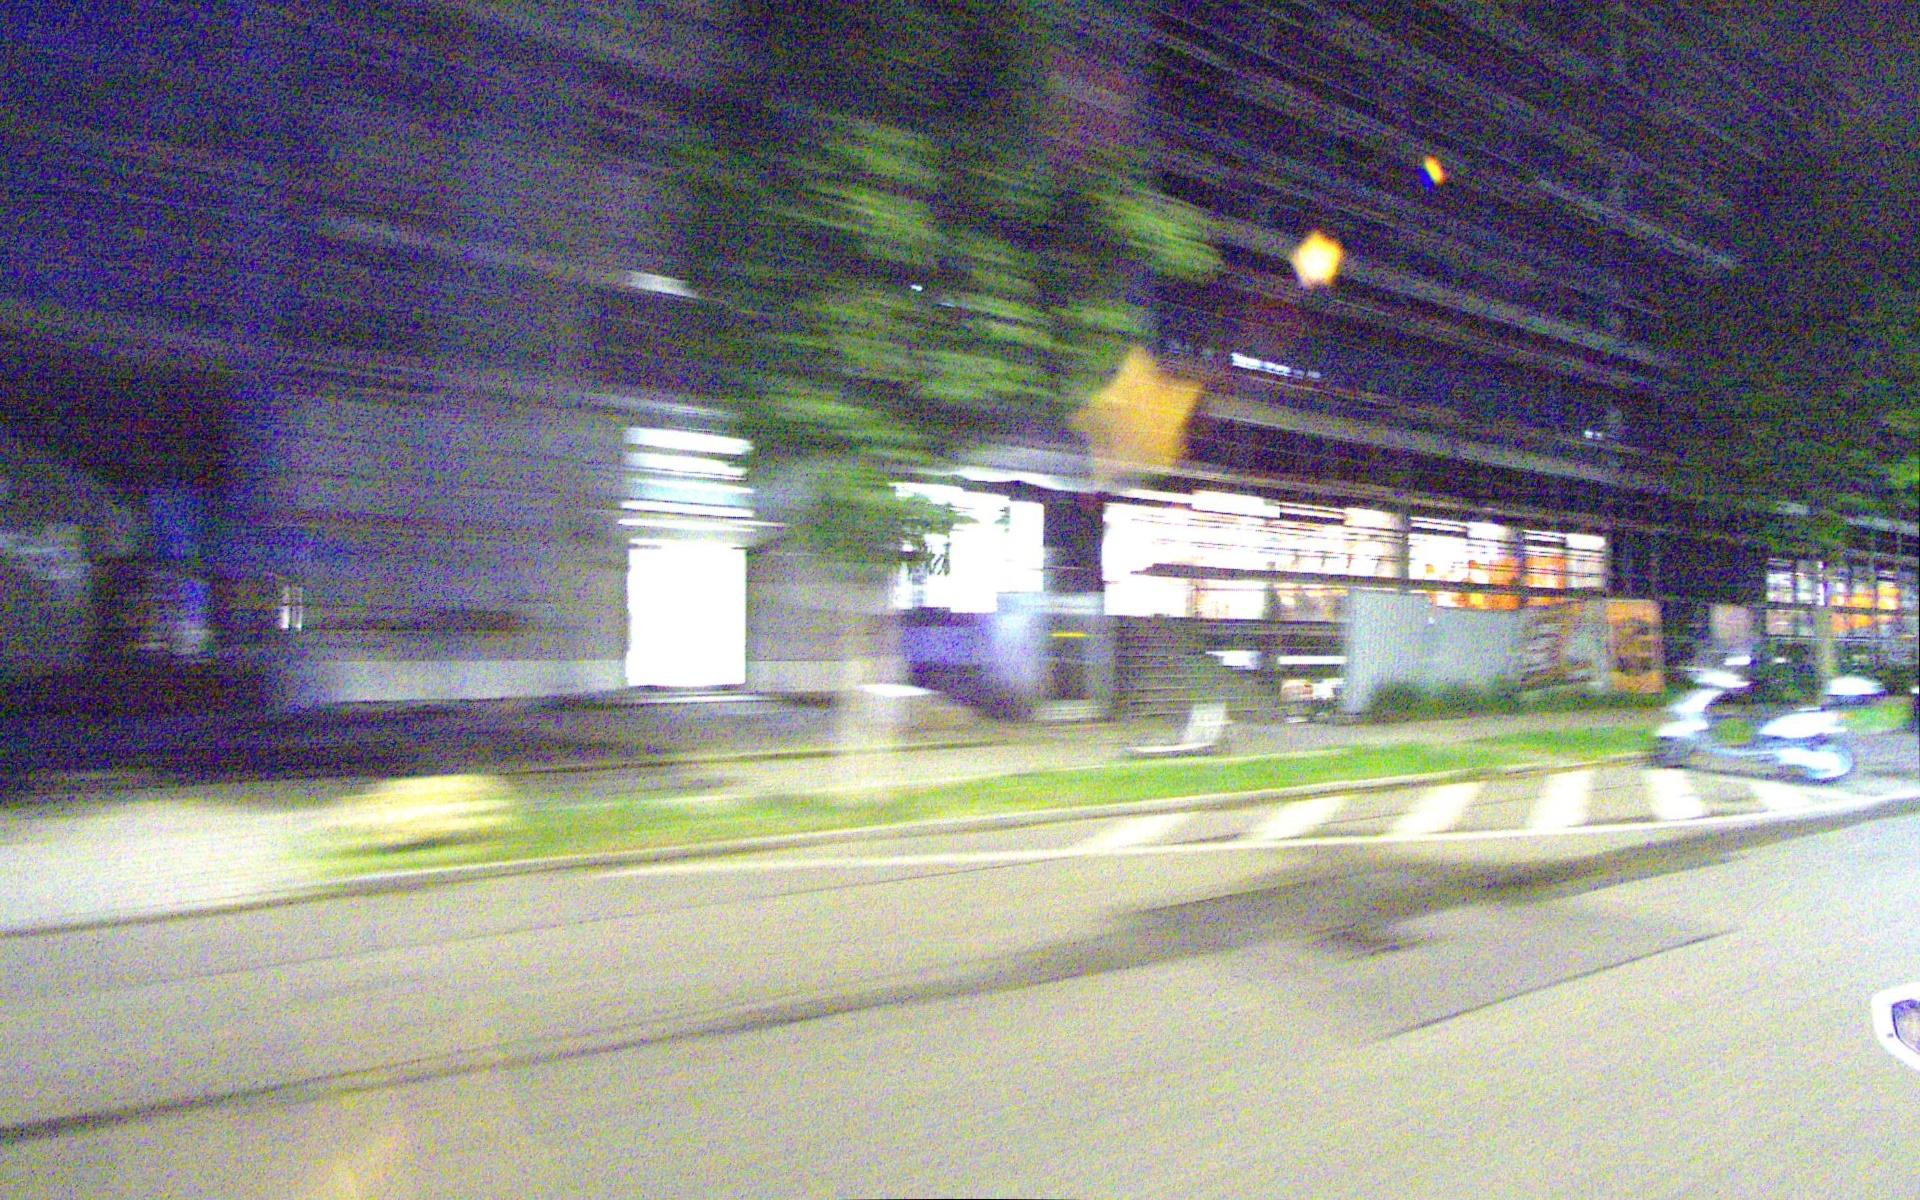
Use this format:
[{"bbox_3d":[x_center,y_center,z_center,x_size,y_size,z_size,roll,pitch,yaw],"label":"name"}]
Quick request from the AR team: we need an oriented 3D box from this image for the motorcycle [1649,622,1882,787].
[{"bbox_3d":[8.711,1.070,10.937,1.880,1.570,0.636,2,1,41],"label":"motorcycle"}]

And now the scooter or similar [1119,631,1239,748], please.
[{"bbox_3d":[2.421,0.973,11.048,1.411,1.220,0.365,2,-2,-31],"label":"scooter or similar"}]

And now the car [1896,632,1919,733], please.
[{"bbox_3d":[16.558,1.330,15.825,3.859,1.524,1.634,2,1,-31],"label":"car"}]
